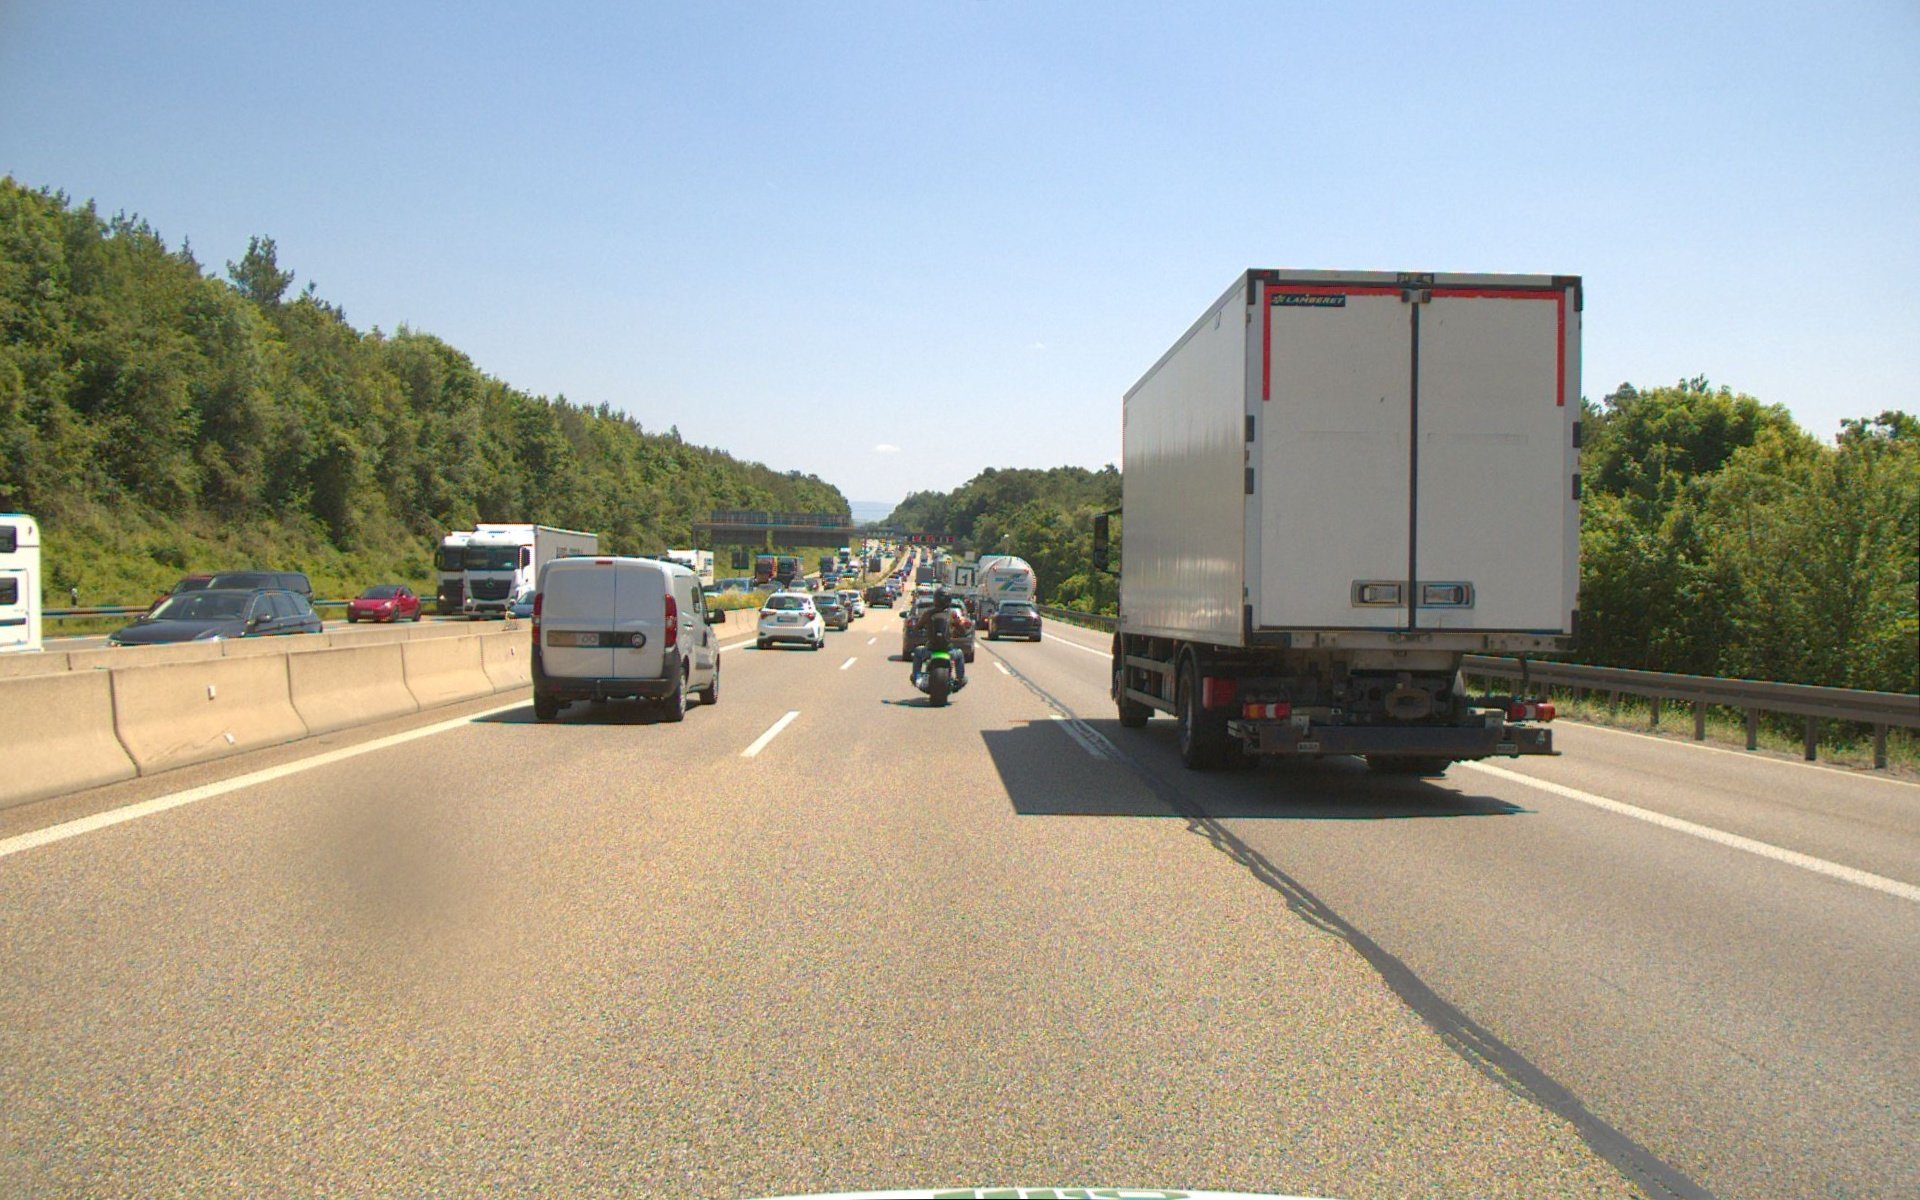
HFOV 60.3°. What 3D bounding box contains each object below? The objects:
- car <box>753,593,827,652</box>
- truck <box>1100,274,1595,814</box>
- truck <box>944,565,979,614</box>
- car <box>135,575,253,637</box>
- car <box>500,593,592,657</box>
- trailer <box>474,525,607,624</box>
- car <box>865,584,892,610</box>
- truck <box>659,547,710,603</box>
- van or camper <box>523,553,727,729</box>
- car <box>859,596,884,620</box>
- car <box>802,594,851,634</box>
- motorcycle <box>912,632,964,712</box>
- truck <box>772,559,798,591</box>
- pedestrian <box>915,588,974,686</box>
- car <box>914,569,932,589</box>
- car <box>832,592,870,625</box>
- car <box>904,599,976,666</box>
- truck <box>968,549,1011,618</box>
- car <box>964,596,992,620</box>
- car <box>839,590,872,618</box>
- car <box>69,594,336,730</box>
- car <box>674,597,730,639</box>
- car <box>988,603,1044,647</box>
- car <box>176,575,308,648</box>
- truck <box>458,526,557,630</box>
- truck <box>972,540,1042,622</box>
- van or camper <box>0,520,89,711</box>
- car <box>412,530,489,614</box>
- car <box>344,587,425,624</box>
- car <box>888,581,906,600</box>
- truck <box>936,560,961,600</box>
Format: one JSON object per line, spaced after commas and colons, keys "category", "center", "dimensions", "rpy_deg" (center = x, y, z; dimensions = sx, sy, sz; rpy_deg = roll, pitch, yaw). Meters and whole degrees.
{"category": "car", "center": [-4.624, 0.583, 45.445], "dimensions": [1.665, 1.504, 3.999], "rpy_deg": [2, 0, -1]}
{"category": "truck", "center": [3.276, -0.419, 17.096], "dimensions": [2.633, 3.944, 9.778], "rpy_deg": [-1, 0, -1]}
{"category": "truck", "center": [0.077, -1.046, 162.853], "dimensions": [2.972, 4.621, 9.980], "rpy_deg": [3, 0, -1]}
{"category": "car", "center": [-22.858, 0.186, 49.521], "dimensions": [1.642, 1.781, 4.374], "rpy_deg": [0, -1, -2]}
{"category": "car", "center": [-12.287, 0.711, 49.316], "dimensions": [1.736, 1.803, 4.183], "rpy_deg": [0, 0, -1]}
{"category": "trailer", "center": [-19.599, -1.052, 78.463], "dimensions": [2.777, 4.238, 14.734], "rpy_deg": [0, -1, -1]}
{"category": "car", "center": [-6.234, -0.223, 126.675], "dimensions": [1.842, 1.892, 3.999], "rpy_deg": [2, 0, -1]}
{"category": "truck", "center": [-21.737, -1.933, 130.855], "dimensions": [2.745, 4.238, 7.599], "rpy_deg": [0, -1, 0]}
{"category": "van or camper", "center": [-4.069, 0.484, 20.728], "dimensions": [1.760, 1.925, 4.158], "rpy_deg": [2, -1, -2]}
{"category": "car", "center": [-7.559, 0.675, 142.116], "dimensions": [1.953, 2.049, 3.999], "rpy_deg": [0, -1, -1]}
{"category": "car", "center": [-5.279, 0.539, 65.936], "dimensions": [1.665, 1.504, 3.999], "rpy_deg": [2, 0, -1]}
{"category": "motorcycle", "center": [-0.304, 1.007, 23.830], "dimensions": [0.677, 1.033, 2.121], "rpy_deg": [2, 0, 0]}
{"category": "truck", "center": [-23.339, -3.352, 220.761], "dimensions": [2.847, 4.044, 7.766], "rpy_deg": [0, -1, -1]}
{"category": "pedestrian", "center": [-0.223, 0.525, 23.847], "dimensions": [0.832, 1.385, 0.961], "rpy_deg": [0, 0, 0]}
{"category": "car", "center": [-5.079, -2.812, 226.510], "dimensions": [2.454, 2.632, 5.015], "rpy_deg": [2, 0, -1]}
{"category": "car", "center": [-5.336, 0.399, 81.541], "dimensions": [1.665, 1.504, 3.999], "rpy_deg": [2, 0, -1]}
{"category": "car", "center": [-0.452, 0.759, 40.541], "dimensions": [1.500, 1.536, 4.002], "rpy_deg": [0, 0, 3]}
{"category": "truck", "center": [1.547, -0.848, 89.091], "dimensions": [1.954, 3.584, 4.747], "rpy_deg": [0, -1, -4]}
{"category": "car", "center": [1.239, 0.518, 114.142], "dimensions": [1.751, 1.583, 3.802], "rpy_deg": [2, 0, -1]}
{"category": "car", "center": [-5.892, 0.211, 93.788], "dimensions": [1.665, 1.504, 3.999], "rpy_deg": [2, 0, -1]}
{"category": "car", "center": [-11.168, 0.864, 24.793], "dimensions": [1.907, 1.833, 4.692], "rpy_deg": [0, -1, -1]}
{"category": "car", "center": [-11.545, 0.814, 74.279], "dimensions": [1.953, 1.825, 3.999], "rpy_deg": [0, -1, -1]}
{"category": "car", "center": [2.057, 0.905, 61.710], "dimensions": [1.792, 1.496, 3.999], "rpy_deg": [2, 0, -1]}
{"category": "car", "center": [-19.289, 0.286, 44.659], "dimensions": [1.699, 1.841, 4.861], "rpy_deg": [0, 0, -3]}
{"category": "truck", "center": [-19.423, -0.924, 71.321], "dimensions": [2.783, 4.288, 5.658], "rpy_deg": [1, 0, -1]}
{"category": "truck", "center": [2.190, -0.826, 80.138], "dimensions": [2.927, 3.736, 9.285], "rpy_deg": [0, -1, -1]}
{"category": "van or camper", "center": [-15.129, 0.225, 23.305], "dimensions": [2.185, 2.809, 6.835], "rpy_deg": [0, 0, -1]}
{"category": "car", "center": [-24.629, -1.305, 80.057], "dimensions": [2.399, 3.941, 4.564], "rpy_deg": [0, 0, -2]}
{"category": "car", "center": [-22.869, 0.215, 65.877], "dimensions": [1.727, 1.394, 4.500], "rpy_deg": [0, 0, -1]}
{"category": "car", "center": [-7.153, -1.024, 187.122], "dimensions": [1.890, 2.049, 3.999], "rpy_deg": [0, -1, -1]}
{"category": "truck", "center": [-1.586, -2.658, 223.944], "dimensions": [2.972, 5.229, 9.980], "rpy_deg": [3, 0, -1]}
